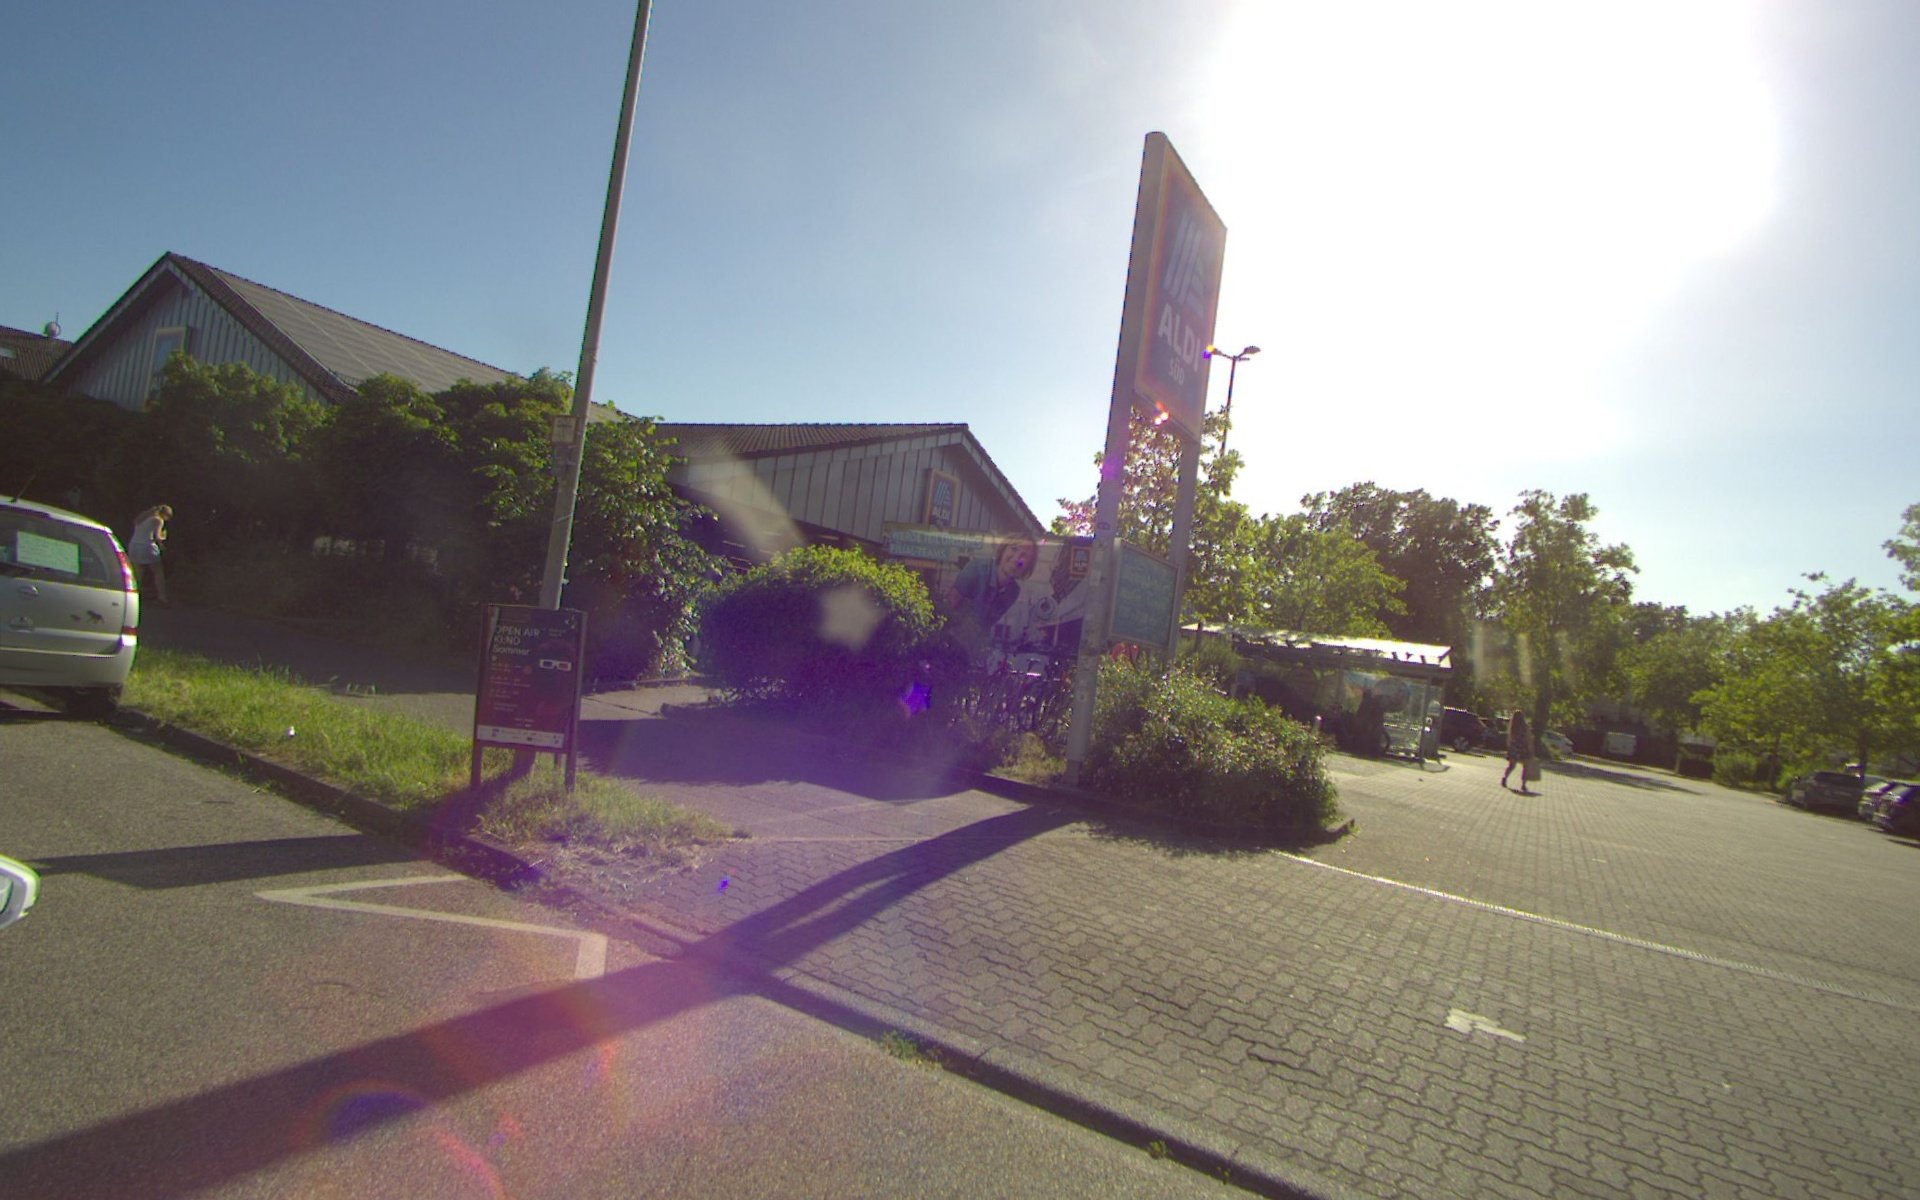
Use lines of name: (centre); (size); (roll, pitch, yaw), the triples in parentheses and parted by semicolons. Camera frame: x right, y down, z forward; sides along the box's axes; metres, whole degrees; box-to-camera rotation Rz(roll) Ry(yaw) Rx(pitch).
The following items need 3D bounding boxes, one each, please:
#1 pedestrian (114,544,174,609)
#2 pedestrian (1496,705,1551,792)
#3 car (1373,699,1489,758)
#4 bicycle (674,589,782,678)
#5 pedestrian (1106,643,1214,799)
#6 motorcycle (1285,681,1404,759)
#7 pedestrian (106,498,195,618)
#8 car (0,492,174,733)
pedestrian: (-13.910, -0.403, 17.142); (0.798, 0.991, 0.532); (6, -3, 39)
pedestrian: (11.868, 3.117, 21.178); (0.814, 1.675, 0.673); (7, -1, 30)
car: (19.224, 5.228, 41.088); (3.934, 1.725, 1.998); (7, -2, 32)
bicycle: (-3.873, 0.566, 16.841); (1.508, 1.257, 0.562); (8, -1, 4)
pedestrian: (2.305, 1.390, 11.611); (0.688, 1.650, 0.769); (9, -2, -38)
motorcycle: (9.735, 3.027, 25.533); (2.554, 1.526, 0.871); (7, -2, 32)
pedestrian: (-13.289, -0.687, 16.513); (0.797, 1.802, 0.798); (7, -2, 39)
car: (-8.328, -0.093, 8.014); (3.960, 1.615, 1.687); (6, -5, 30)
